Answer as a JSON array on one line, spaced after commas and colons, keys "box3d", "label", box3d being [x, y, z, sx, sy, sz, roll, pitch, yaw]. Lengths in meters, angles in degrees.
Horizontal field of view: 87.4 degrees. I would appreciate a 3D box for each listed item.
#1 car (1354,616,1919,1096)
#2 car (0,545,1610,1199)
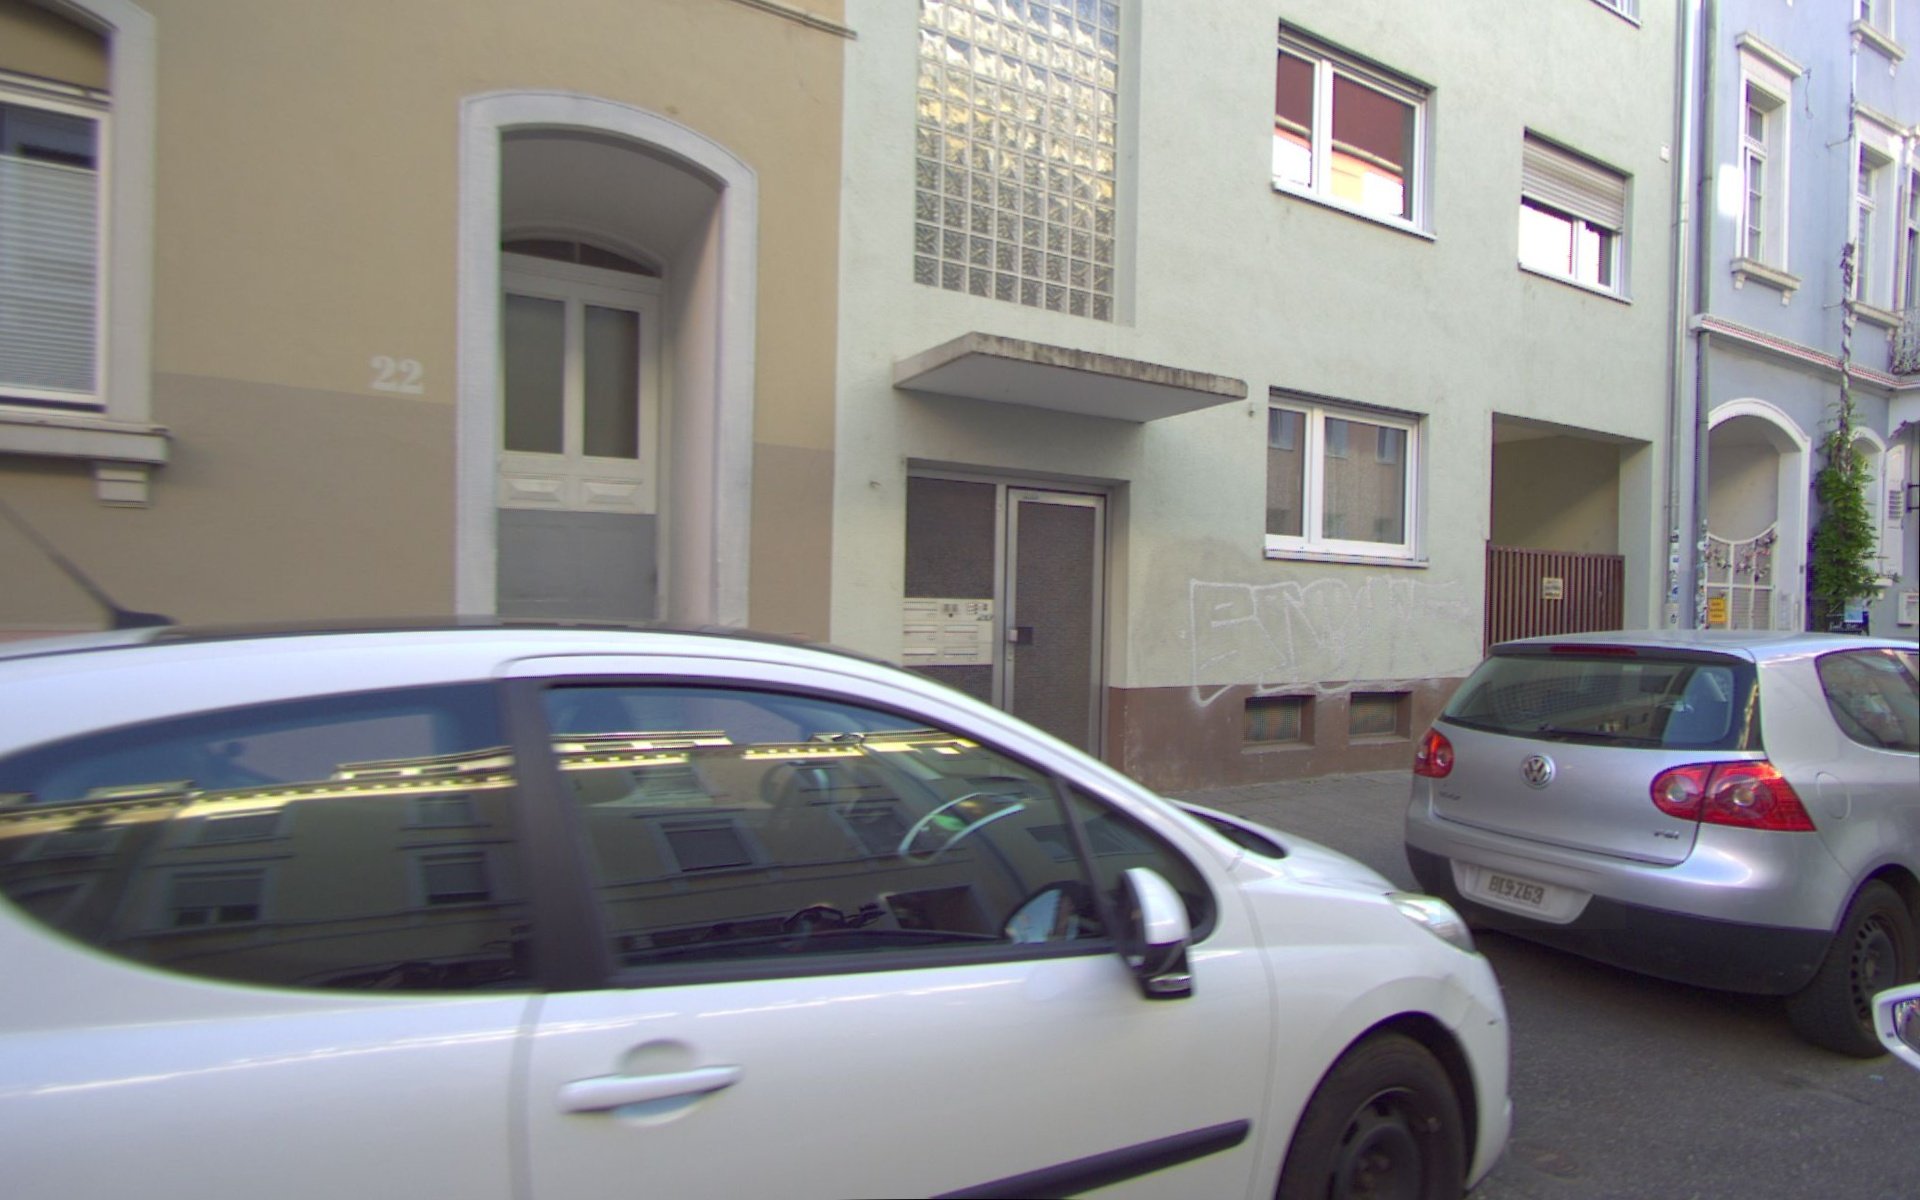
[{"box3d": [3.950, 0.835, 4.754, 3.981, 1.474, 1.675, 1, -1, -27], "label": "car"}, {"box3d": [-0.546, 0.702, 2.226, 3.954, 1.471, 1.781, 1, -1, -31], "label": "car"}]
